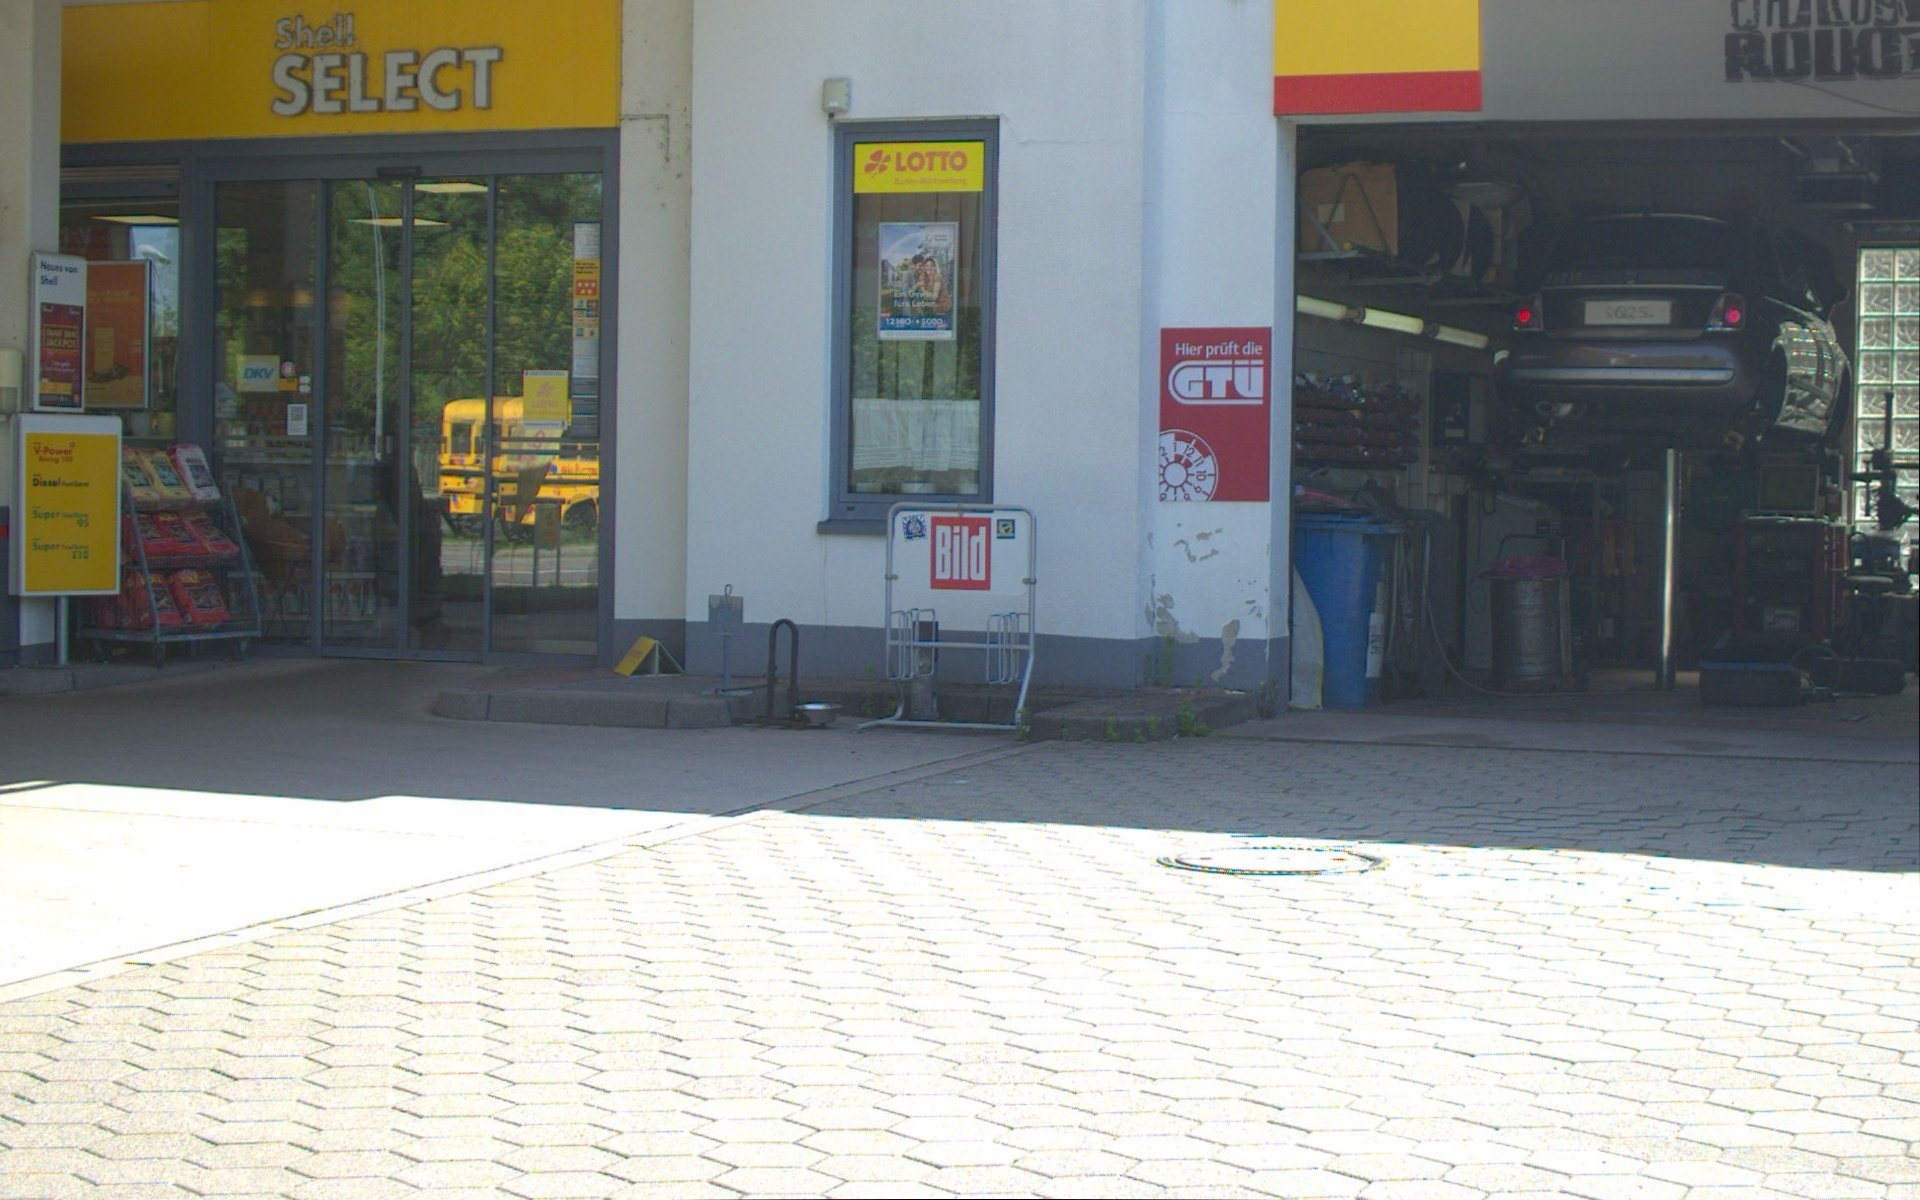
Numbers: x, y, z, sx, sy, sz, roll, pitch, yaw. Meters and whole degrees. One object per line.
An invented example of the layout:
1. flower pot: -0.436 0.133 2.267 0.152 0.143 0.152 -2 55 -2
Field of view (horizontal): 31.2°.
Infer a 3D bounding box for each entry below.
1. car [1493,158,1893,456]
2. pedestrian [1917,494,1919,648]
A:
1. car: 4.615 -1.717 21.230 1.648 1.481 3.995 1 0 23
2. pedestrian: 6.913 -0.269 23.075 0.864 1.194 0.742 1 0 20
